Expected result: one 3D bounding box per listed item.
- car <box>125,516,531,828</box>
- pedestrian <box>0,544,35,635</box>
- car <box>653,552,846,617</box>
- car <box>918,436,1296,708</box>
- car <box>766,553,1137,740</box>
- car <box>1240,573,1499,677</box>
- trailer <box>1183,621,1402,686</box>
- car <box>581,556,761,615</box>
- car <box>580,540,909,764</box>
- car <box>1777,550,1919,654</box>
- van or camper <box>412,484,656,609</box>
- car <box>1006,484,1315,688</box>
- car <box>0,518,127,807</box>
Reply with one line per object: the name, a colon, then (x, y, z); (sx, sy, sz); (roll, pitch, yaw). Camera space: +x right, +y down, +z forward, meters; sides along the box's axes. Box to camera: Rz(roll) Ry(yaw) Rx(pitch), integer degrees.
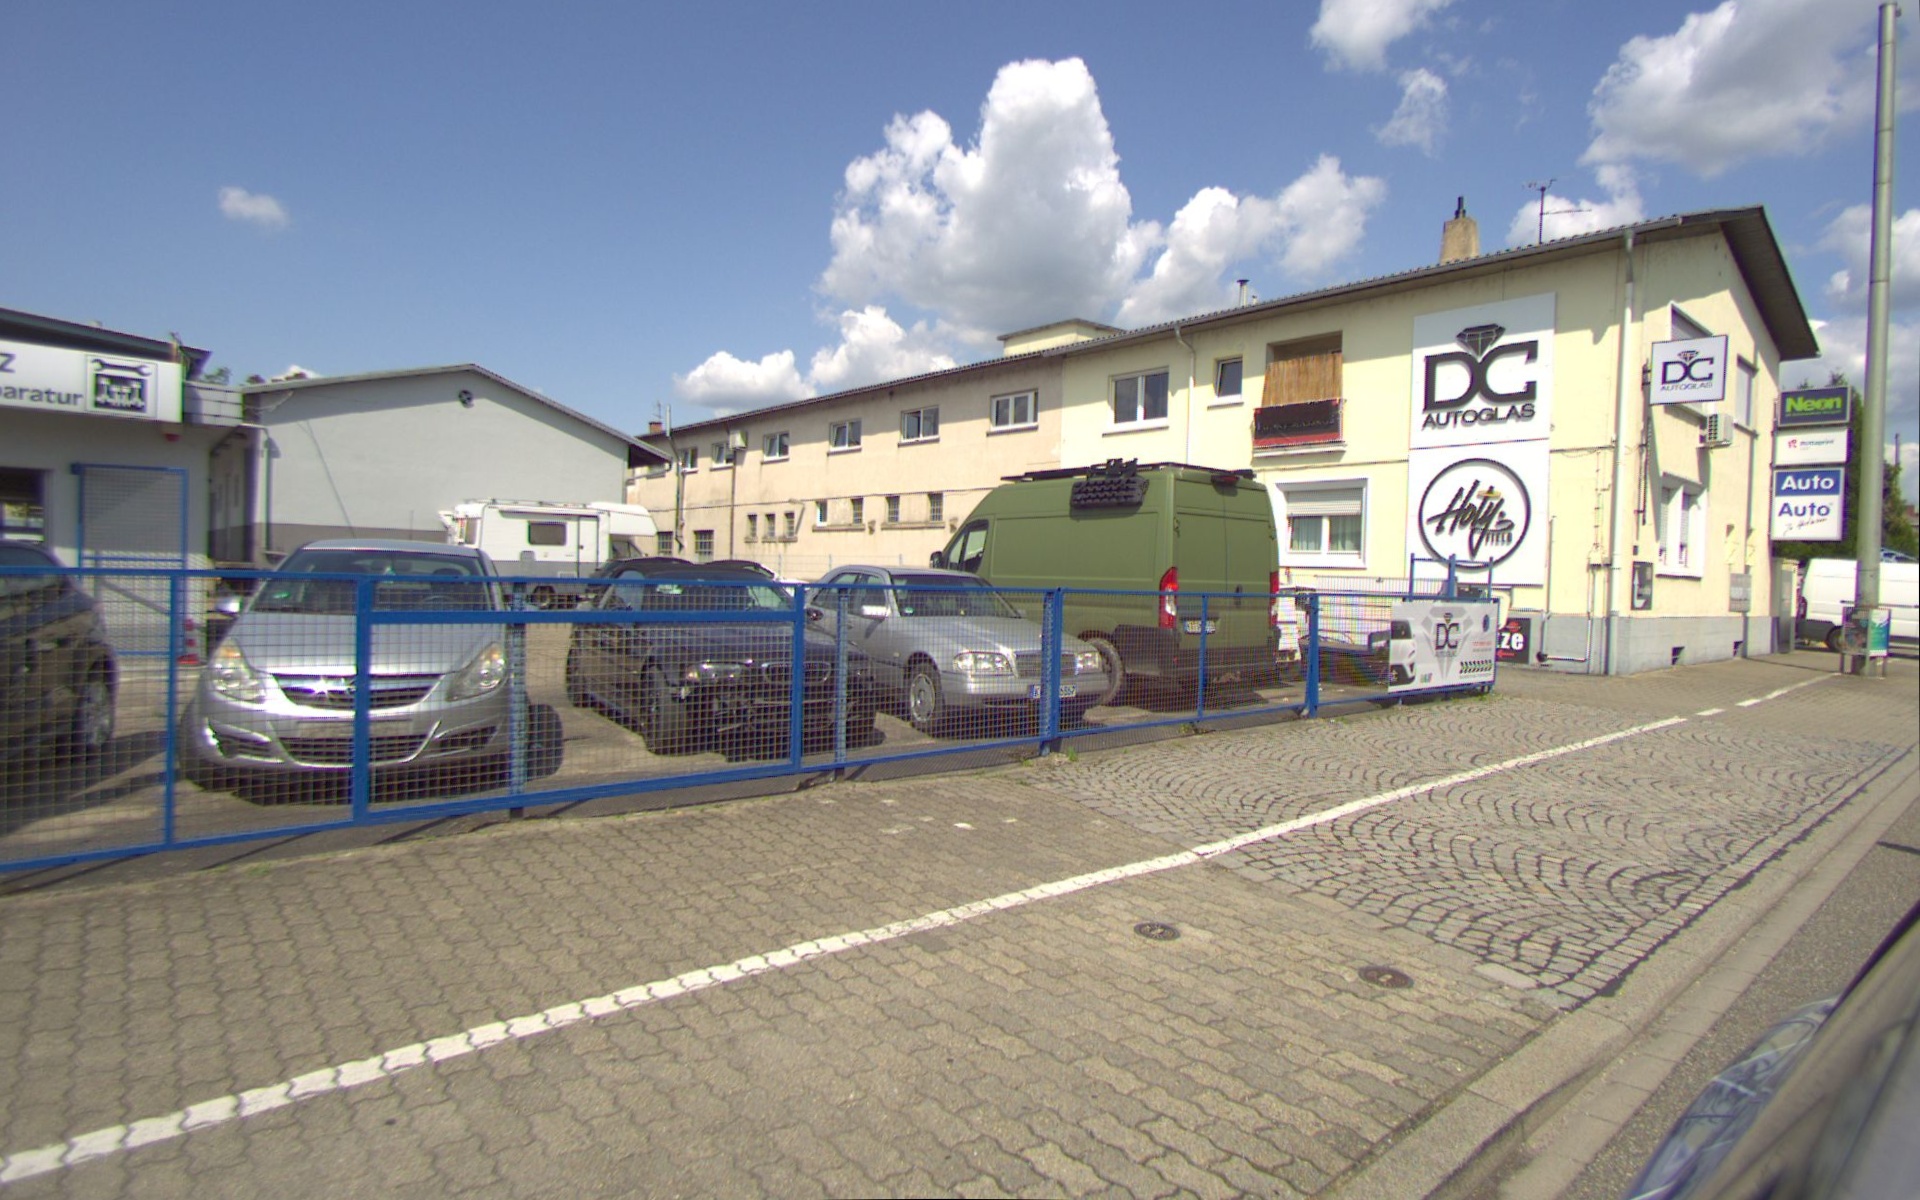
car: (-3.894, 0.281, 6.840); (1.736, 1.470, 3.778); (1, 2, -24)
pedestrian: (-13.157, -0.156, 13.880); (0.652, 1.224, 0.566); (1, 1, -39)
car: (-4.840, -0.347, 23.547); (4.112, 1.378, 1.645); (0, 2, -41)
car: (1.592, -0.349, 12.255); (2.075, 2.675, 4.208); (1, 2, -39)
car: (-0.334, 0.287, 10.202); (1.679, 1.470, 4.292); (1, 2, -33)
car: (6.789, 0.339, 17.109); (1.527, 1.481, 3.775); (1, 2, -39)
trailer: (4.754, 0.726, 14.650); (1.307, 0.674, 2.730); (0, 2, -42)
car: (-7.302, -0.358, 25.810); (4.112, 1.378, 1.645); (0, 2, -41)
car: (-2.124, 0.274, 8.896); (1.737, 1.470, 4.128); (1, 2, -28)
car: (24.917, 0.099, 26.079); (5.814, 2.493, 2.063); (5, 4, 39)
van or camper: (-11.299, -1.323, 27.110); (5.556, 3.002, 2.272); (0, 2, -42)
car: (2.637, -0.246, 14.234); (1.557, 2.436, 4.208); (1, 2, -39)
car: (-5.628, 0.305, 4.870); (1.606, 1.470, 3.700); (1, 2, -25)
